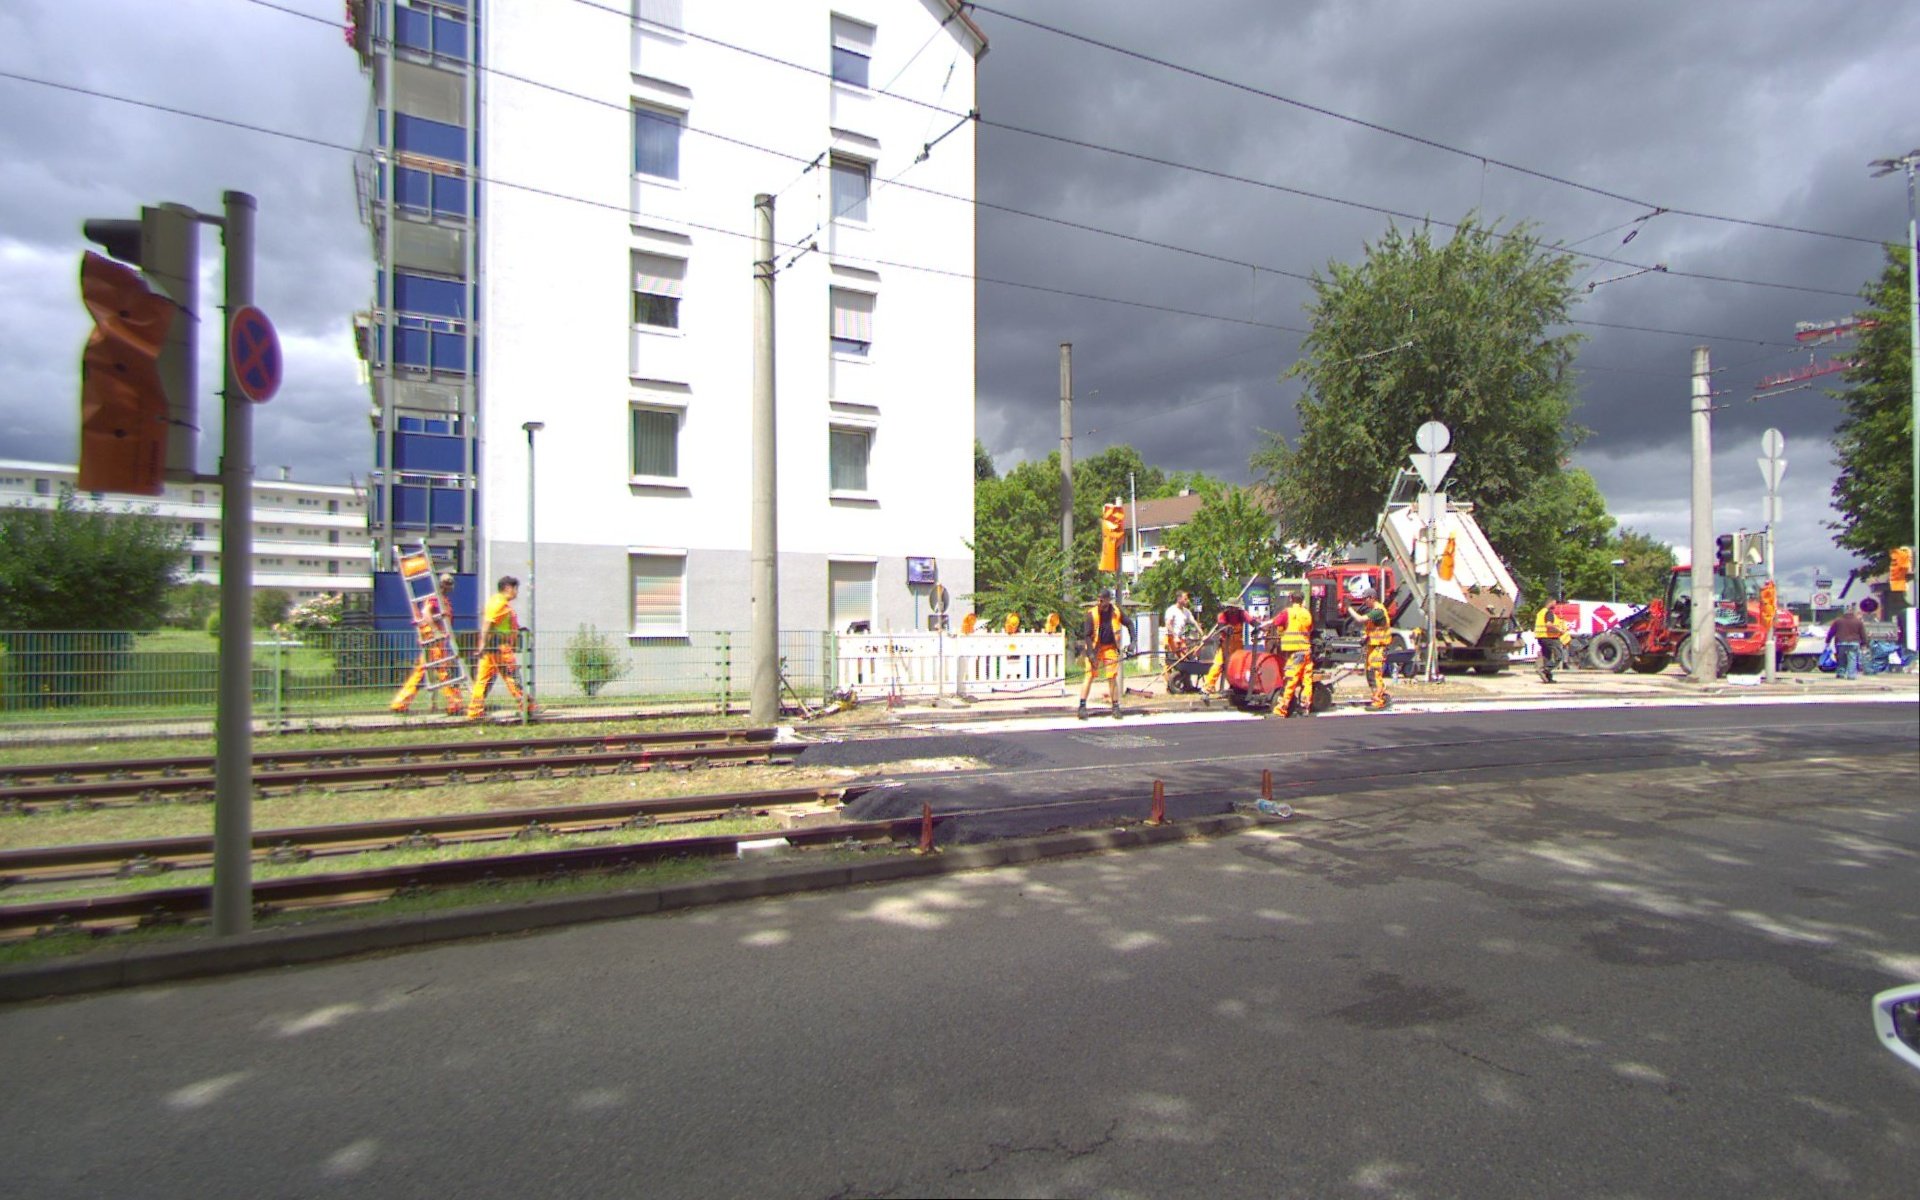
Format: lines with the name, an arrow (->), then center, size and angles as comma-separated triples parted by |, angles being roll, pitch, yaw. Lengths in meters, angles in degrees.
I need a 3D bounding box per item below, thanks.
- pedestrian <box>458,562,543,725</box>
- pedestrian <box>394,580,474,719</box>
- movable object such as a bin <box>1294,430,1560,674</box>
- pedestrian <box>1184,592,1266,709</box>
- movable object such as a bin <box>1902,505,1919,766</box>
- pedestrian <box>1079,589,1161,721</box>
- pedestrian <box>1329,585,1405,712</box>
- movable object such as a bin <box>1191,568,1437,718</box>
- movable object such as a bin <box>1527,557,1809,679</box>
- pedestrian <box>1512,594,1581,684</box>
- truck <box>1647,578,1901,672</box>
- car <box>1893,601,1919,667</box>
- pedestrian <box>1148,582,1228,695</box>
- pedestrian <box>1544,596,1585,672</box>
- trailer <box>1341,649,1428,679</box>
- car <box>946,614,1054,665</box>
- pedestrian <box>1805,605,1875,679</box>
pedestrian -> -5.689, 0.524, 12.440 | 0.871, 1.933, 0.661 | 1, -1, -32
pedestrian -> -6.725, 0.616, 12.840 | 0.870, 1.705, 0.662 | 1, -1, -31
movable object such as a bin -> 12.112, -0.939, 27.352 | 2.766, 5.557, 9.036 | 0, -2, -2
pedestrian -> 4.073, 0.758, 15.478 | 0.904, 1.739, 0.856 | 0, 0, -19
movable object such as a bin -> 10.929, 0.356, 9.997 | 2.325, 2.628, 1.316 | 0, 0, -18
pedestrian -> 2.173, 0.729, 13.711 | 0.902, 1.739, 0.752 | 0, 0, -9
pedestrian -> 6.193, 0.731, 15.301 | 0.760, 1.863, 0.777 | 1, -1, -32
movable object such as a bin -> 5.301, 0.622, 15.184 | 2.924, 2.040, 1.991 | 0, -1, -21
movable object such as a bin -> 17.591, 0.443, 25.370 | 2.087, 2.704, 5.554 | 1, -1, -24
pedestrian -> 12.306, 0.809, 21.093 | 0.954, 1.857, 0.795 | 1, 0, -11
truck -> 24.842, 0.850, 30.967 | 2.387, 2.601, 5.550 | 1, -3, -25
car -> 30.152, 0.988, 28.603 | 1.987, 1.911, 5.182 | 4, -4, -44
pedestrian -> 3.852, 0.648, 17.057 | 0.861, 1.848, 1.091 | 0, -1, -22
pedestrian -> 14.701, 0.819, 24.431 | 0.604, 1.812, 0.578 | -1, 0, -27
trailer -> 9.336, 1.402, 22.133 | 1.567, 0.624, 0.797 | 0, -2, -6
car -> 1.506, 1.513, 39.431 | 1.982, 1.906, 4.296 | 1, -1, -38
pedestrian -> 20.458, 0.962, 23.358 | 0.862, 1.681, 0.924 | 0, -1, -22
